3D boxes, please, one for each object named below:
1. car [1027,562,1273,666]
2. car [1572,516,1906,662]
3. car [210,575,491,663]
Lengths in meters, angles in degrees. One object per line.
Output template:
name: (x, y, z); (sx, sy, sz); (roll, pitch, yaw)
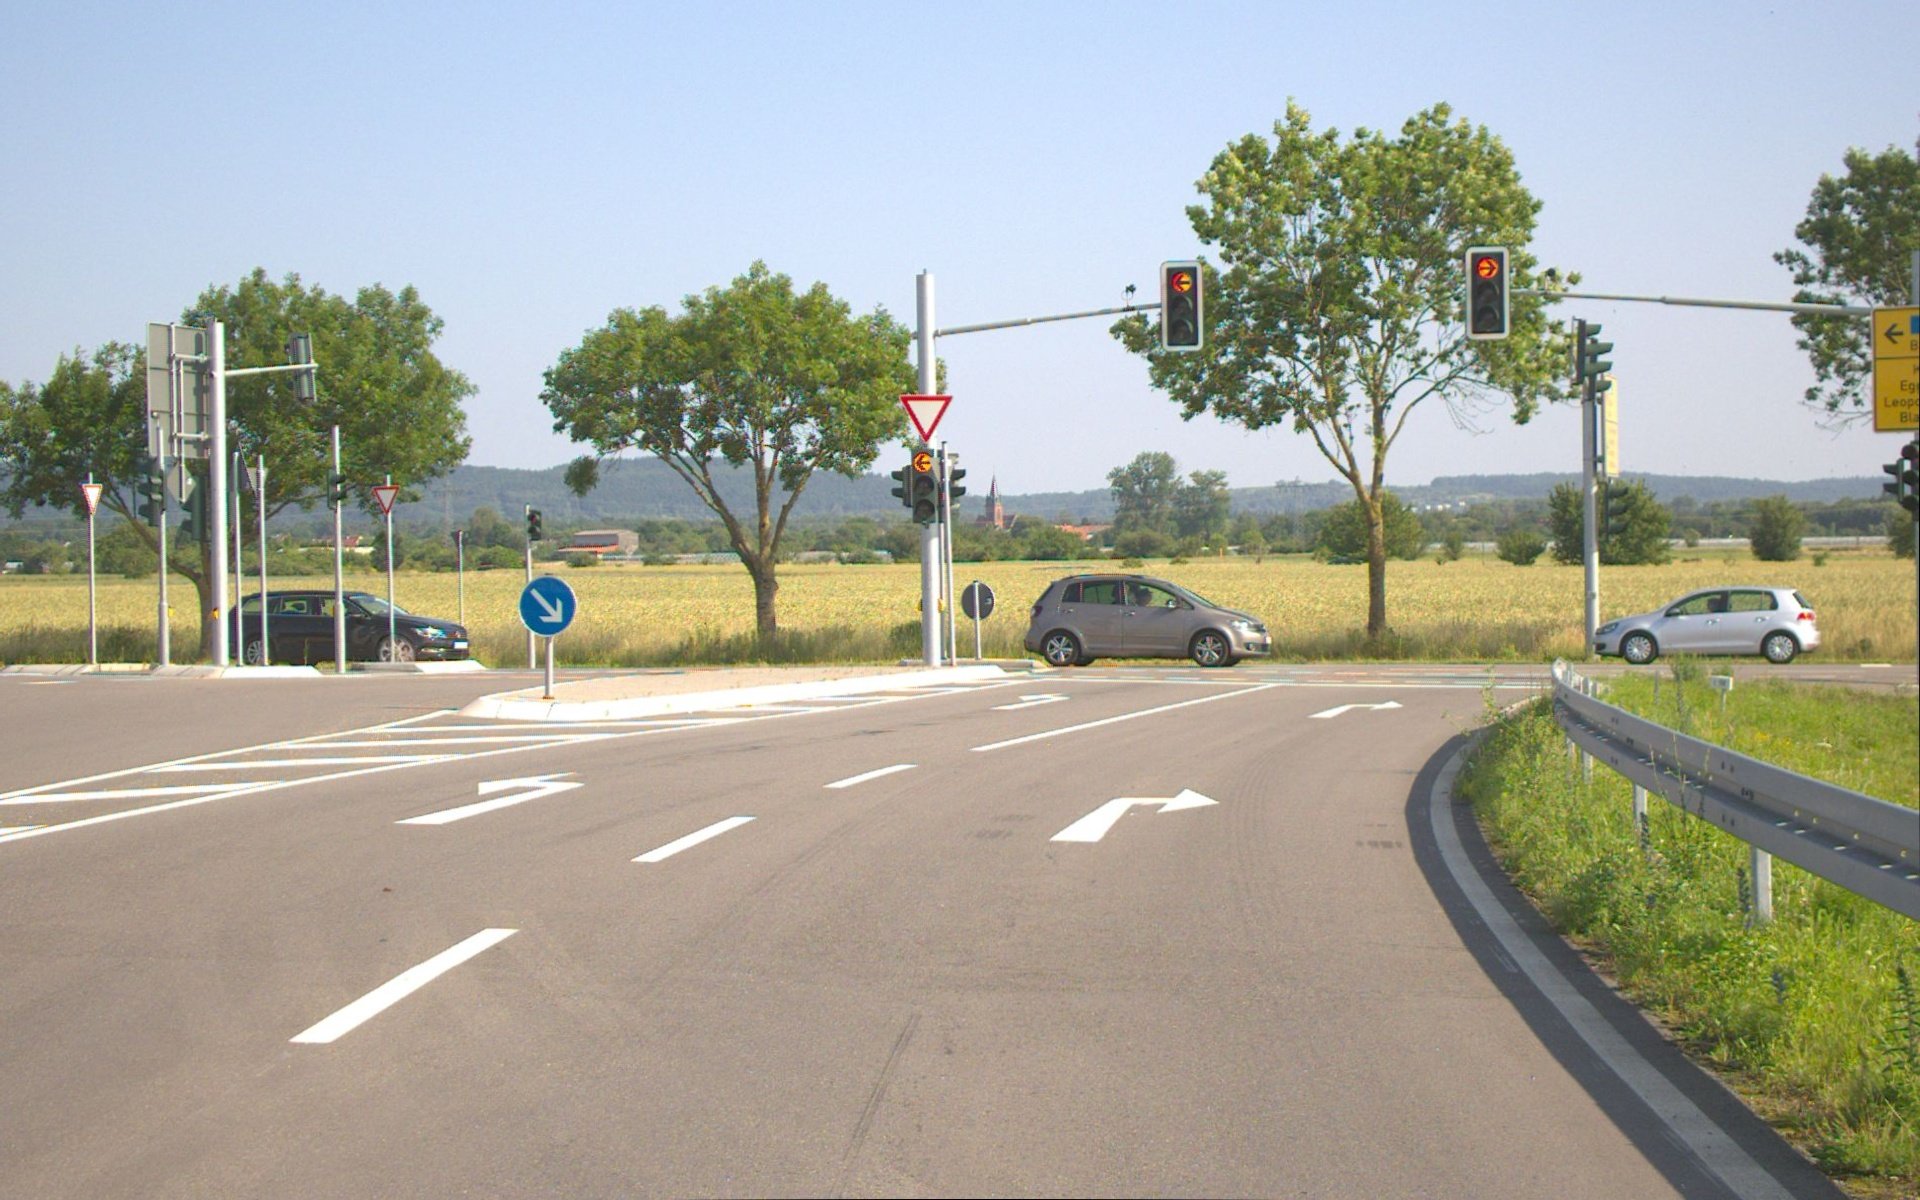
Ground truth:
car: (3.272, 0.238, 58.908); (3.957, 1.662, 1.763); (1, 0, 11)
car: (14.569, -0.204, 64.651); (5.892, 2.568, 2.392); (1, 0, 8)
car: (-11.145, 0.338, 62.948); (4.675, 1.513, 1.921); (0, 2, 14)
